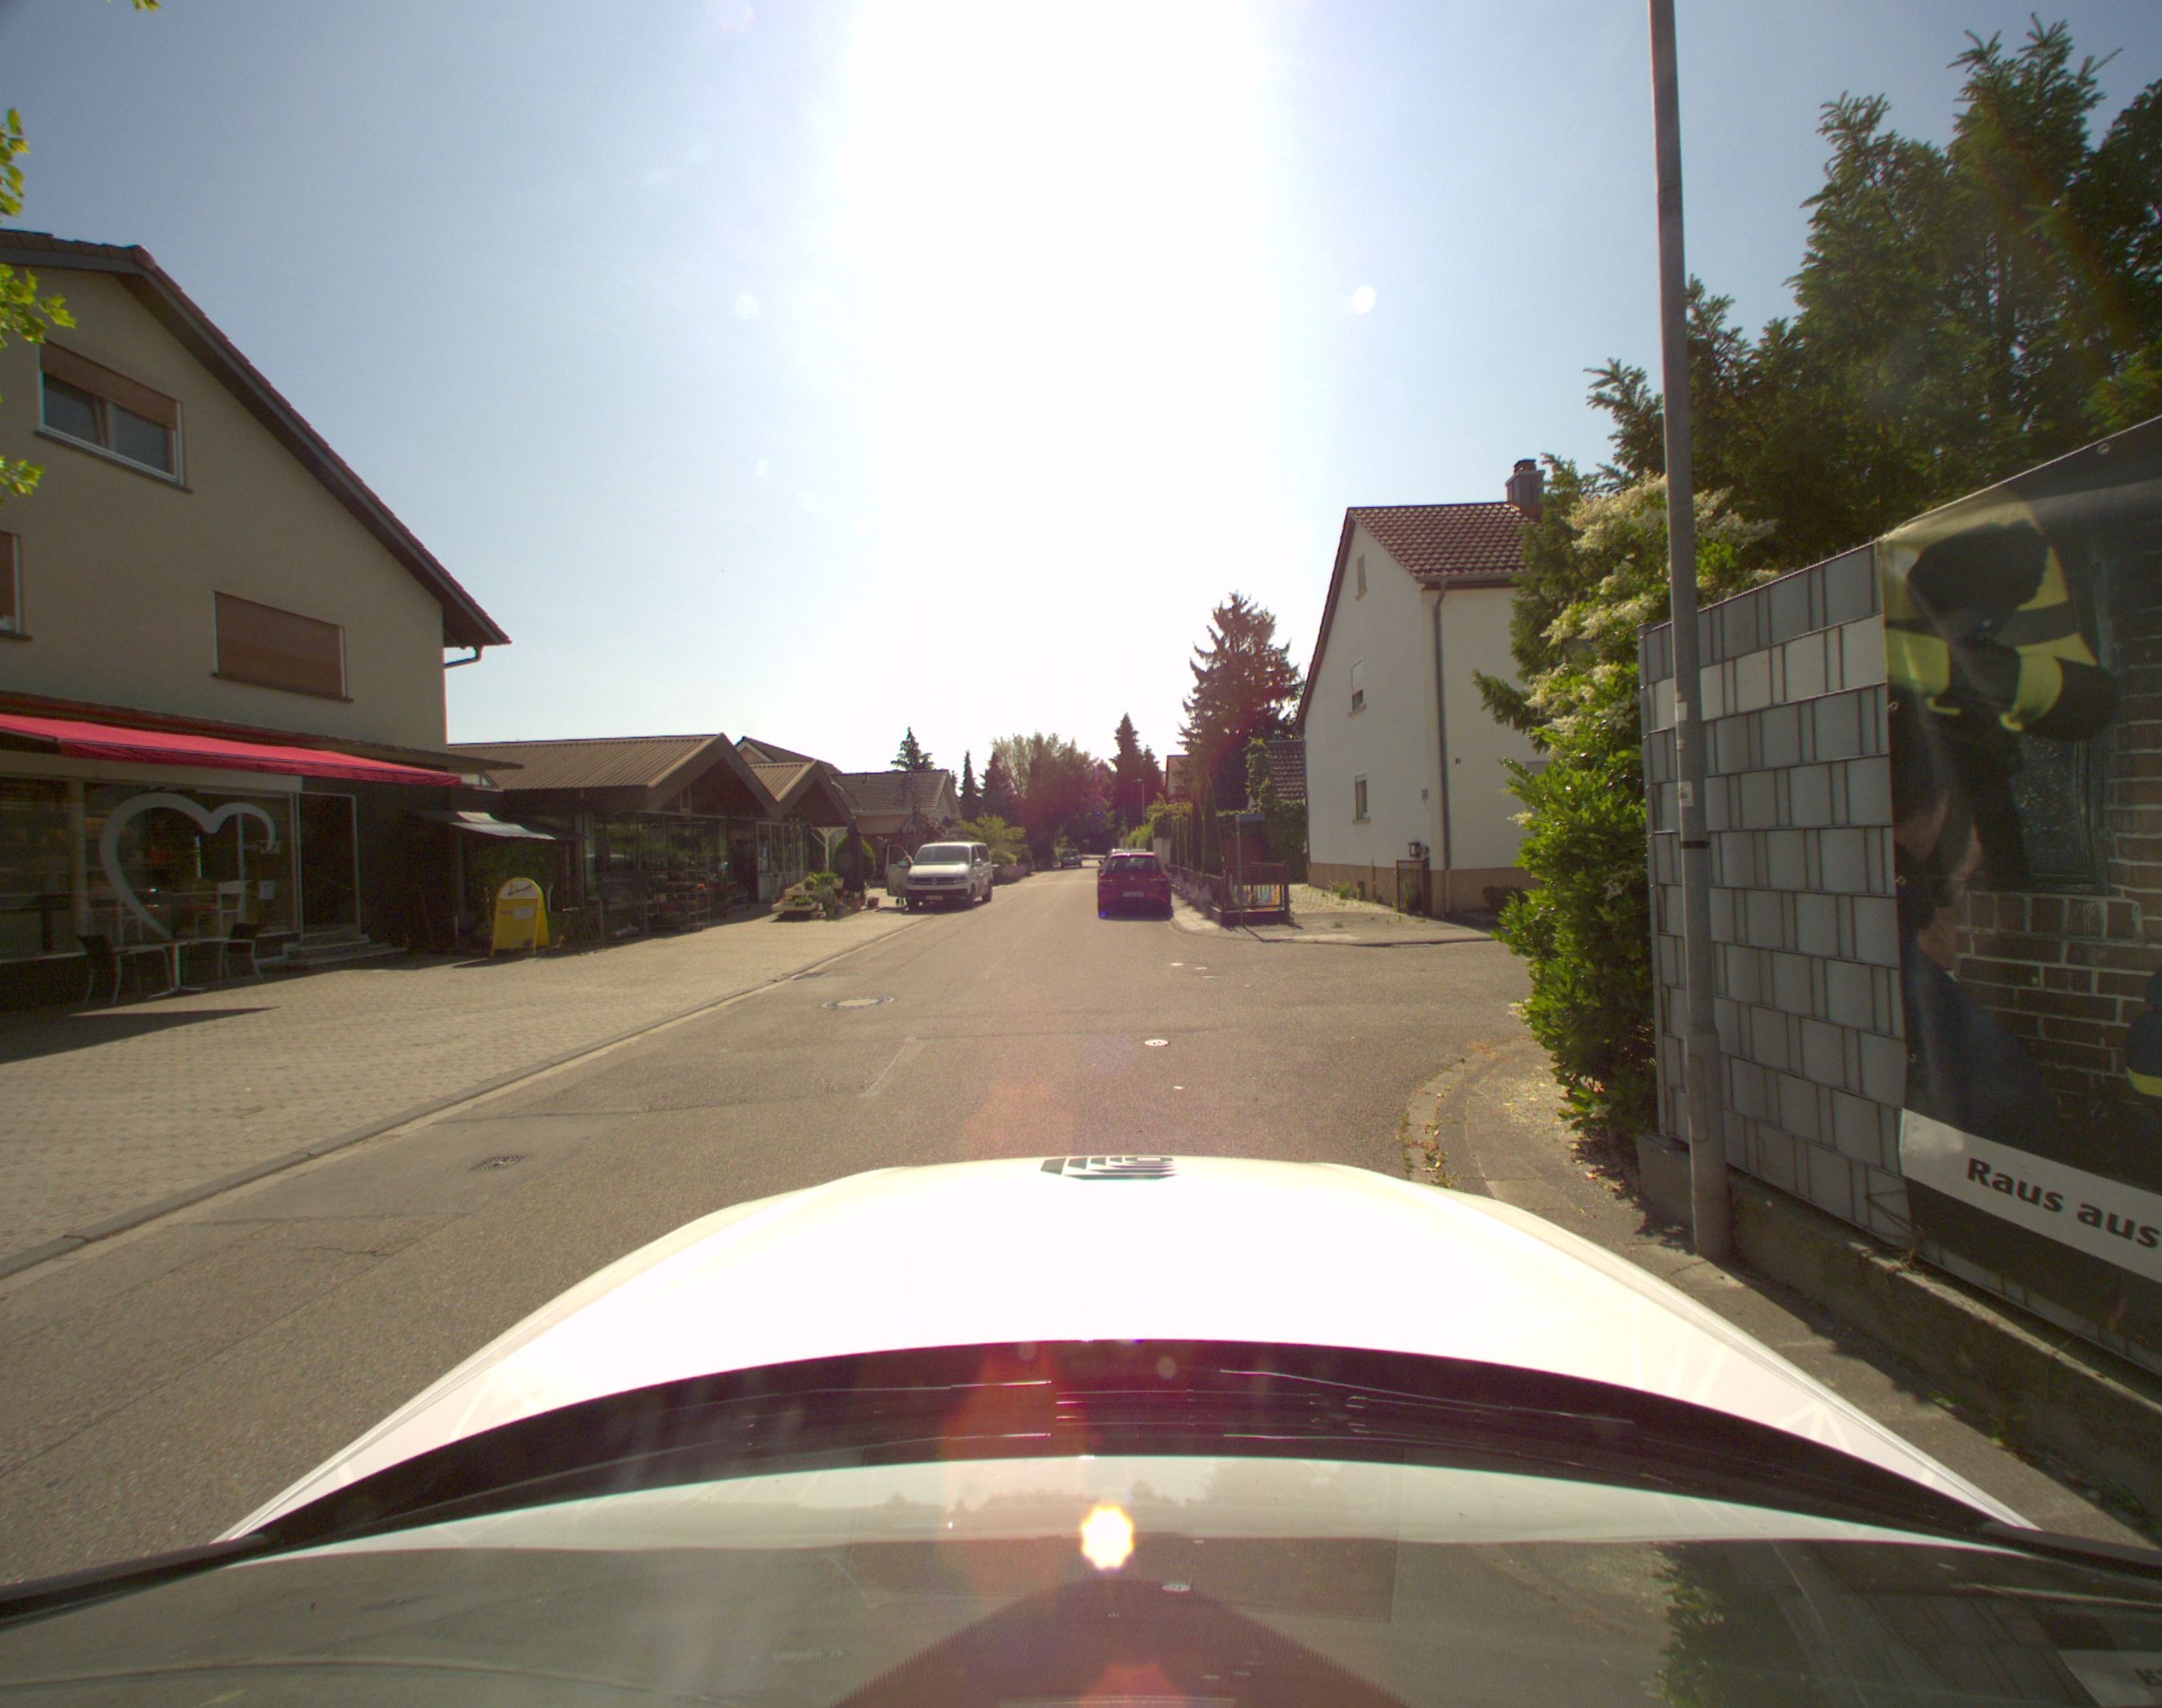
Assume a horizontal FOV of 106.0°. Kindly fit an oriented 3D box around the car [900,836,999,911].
[{"bbox_3d":[-3.908,0.530,25.167,1.921,2.013,4.900,-2,0,3],"label":"car"}]

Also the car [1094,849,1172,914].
[{"bbox_3d":[1.372,0.627,20.714,1.767,1.479,4.006,0,0,5],"label":"car"}]

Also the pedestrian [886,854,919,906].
[{"bbox_3d":[-5.475,0.785,25.000,0.710,1.538,0.646,-1,1,35],"label":"pedestrian"}]

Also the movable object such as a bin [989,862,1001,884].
[{"bbox_3d":[-4.053,0.902,38.330,0.492,1.024,0.448,-2,0,1],"label":"movable object such as a bin"}]

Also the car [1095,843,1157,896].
[{"bbox_3d":[1.442,0.483,27.542,1.817,1.615,3.998,-1,0,-1],"label":"car"}]

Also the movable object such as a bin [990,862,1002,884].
[{"bbox_3d":[-4.040,0.904,38.803,0.492,1.024,0.448,-2,0,1],"label":"movable object such as a bin"}]

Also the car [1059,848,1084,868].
[{"bbox_3d":[-0.726,0.276,66.432,1.745,1.487,4.378,-2,0,2],"label":"car"}]
